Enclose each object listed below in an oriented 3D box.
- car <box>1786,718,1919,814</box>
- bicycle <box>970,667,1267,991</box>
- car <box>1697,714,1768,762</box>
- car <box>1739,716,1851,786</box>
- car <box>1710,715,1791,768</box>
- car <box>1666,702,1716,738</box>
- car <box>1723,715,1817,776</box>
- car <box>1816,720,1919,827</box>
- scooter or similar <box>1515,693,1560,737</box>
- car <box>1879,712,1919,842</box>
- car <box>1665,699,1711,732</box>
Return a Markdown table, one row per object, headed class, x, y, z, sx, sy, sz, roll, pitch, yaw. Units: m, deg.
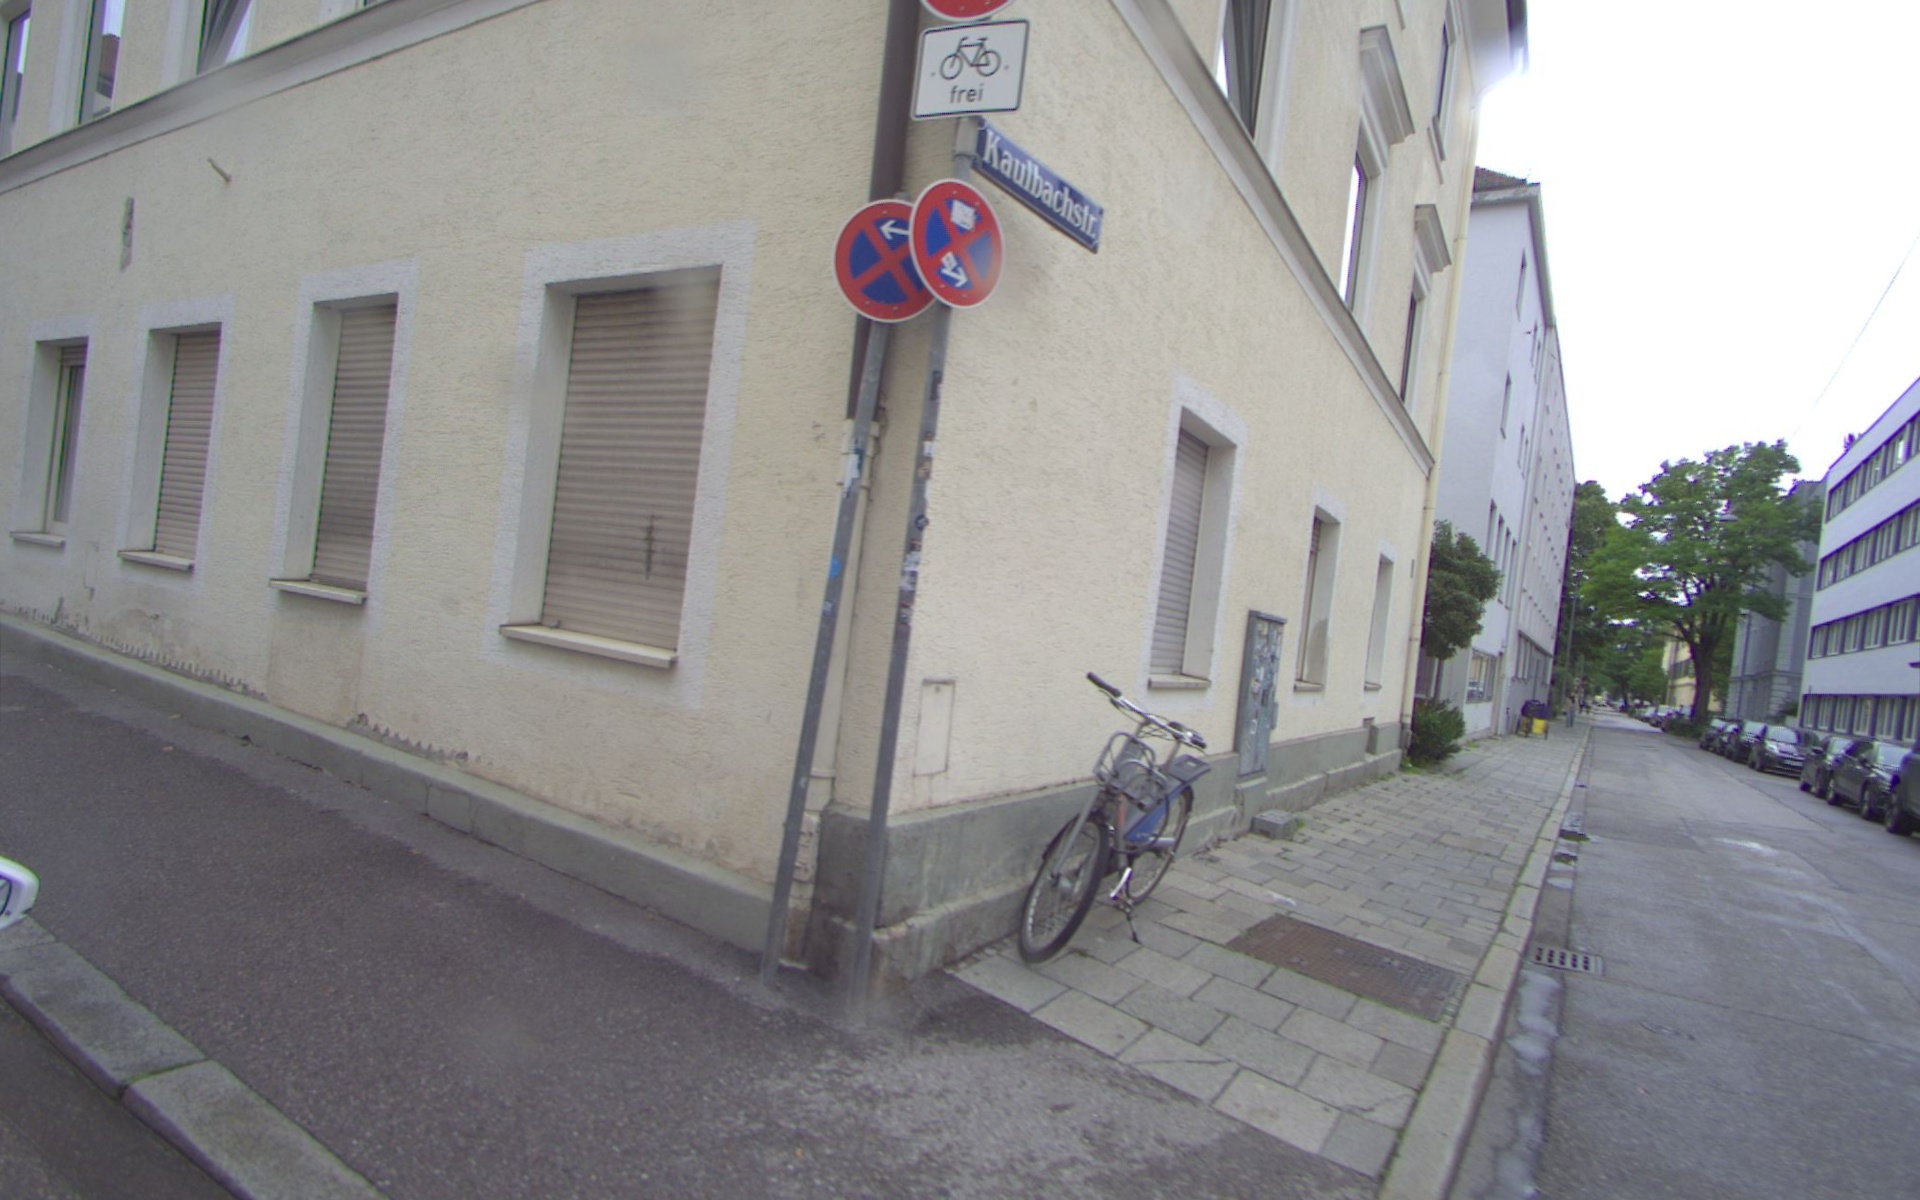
| class | x | y | z | sx | sy | sz | roll | pitch | yaw |
| --- | --- | --- | --- | --- | --- | --- | --- | --- | --- |
| car | 20.881 | 3.763 | 23.318 | 2.058 | 1.649 | 4.708 | 10 | 0 | 35 |
| bicycle | 0.831 | 0.948 | 4.748 | 0.576 | 1.159 | 1.759 | 11 | 2 | 32 |
| car | 35.100 | 6.217 | 45.819 | 2.058 | 1.649 | 4.708 | 10 | 0 | 35 |
| car | 26.302 | 4.687 | 31.853 | 2.058 | 1.649 | 4.708 | 10 | 0 | 35 |
| car | 32.054 | 5.693 | 40.933 | 2.058 | 1.649 | 4.708 | 10 | 0 | 35 |
| car | 44.127 | 7.237 | 60.830 | 2.058 | 1.649 | 4.708 | 10 | 0 | 35 |
| car | 29.268 | 5.211 | 36.498 | 2.058 | 1.649 | 4.708 | 10 | 0 | 35 |
| car | 17.939 | 3.306 | 18.951 | 2.058 | 1.649 | 4.708 | 10 | 0 | 35 |
| scooter or similar | 18.336 | 3.632 | 31.947 | 1.114 | 1.176 | 1.109 | 8 | 0 | 31 |
| car | 14.927 | 2.704 | 14.150 | 2.058 | 1.868 | 4.708 | 10 | 0 | 35 |
| car | 47.000 | 7.461 | 64.995 | 2.058 | 1.649 | 4.708 | 10 | 0 | 35 |
